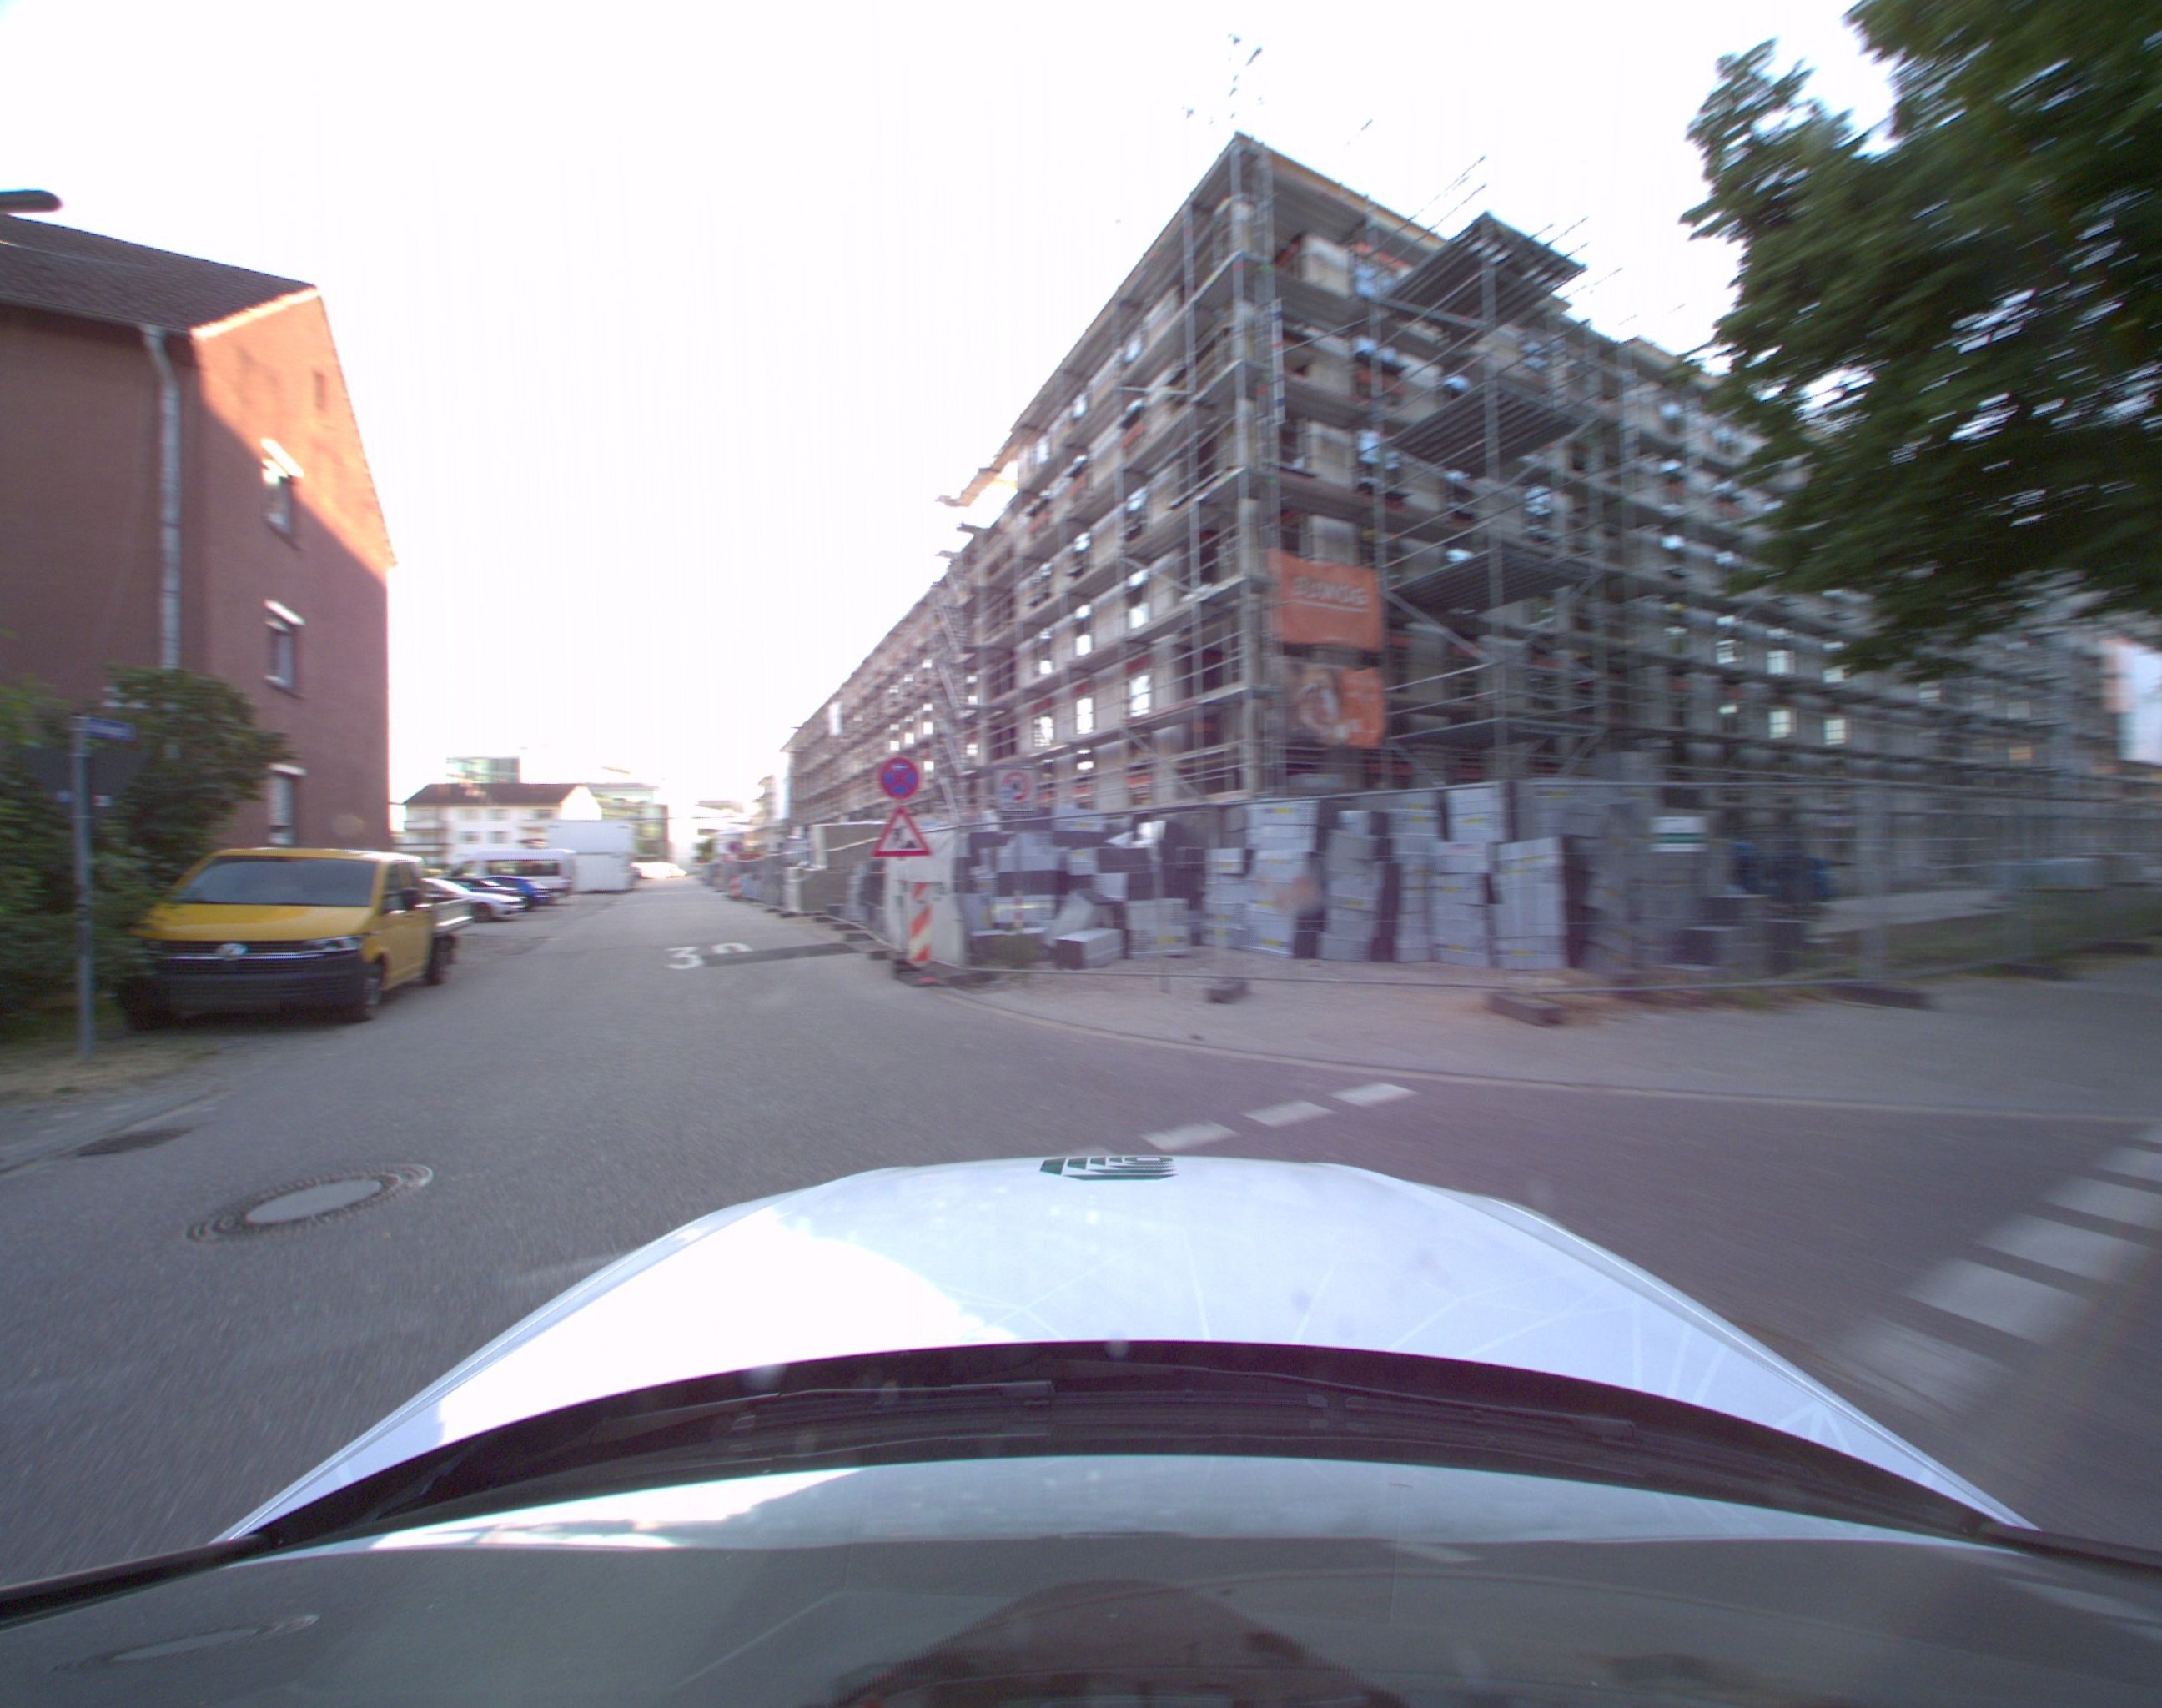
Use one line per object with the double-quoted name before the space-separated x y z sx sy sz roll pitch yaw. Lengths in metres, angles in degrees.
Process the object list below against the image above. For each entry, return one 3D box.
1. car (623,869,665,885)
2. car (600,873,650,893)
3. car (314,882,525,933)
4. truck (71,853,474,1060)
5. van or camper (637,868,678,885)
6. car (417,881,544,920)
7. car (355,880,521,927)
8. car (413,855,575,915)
"car" -73.571 3.815 137.093 5.936 2.490 1.989 -1 -1 -17
"car" -68.457 4.279 122.421 6.363 2.741 1.982 -1 -1 -27
"car" -21.667 1.714 27.006 5.018 1.545 2.098 1 -2 -26
"truck" -9.722 1.047 10.542 2.045 1.913 5.610 1 -2 -27
"van or camper" -77.819 4.053 149.772 6.343 2.979 2.281 0 -2 -15
"car" -23.890 1.805 32.567 3.860 1.430 1.711 1 -2 -30
"car" -22.793 1.721 29.120 4.444 1.545 1.710 1 -2 -31
"car" -26.961 1.403 37.718 5.718 2.626 2.203 0 -2 -26
